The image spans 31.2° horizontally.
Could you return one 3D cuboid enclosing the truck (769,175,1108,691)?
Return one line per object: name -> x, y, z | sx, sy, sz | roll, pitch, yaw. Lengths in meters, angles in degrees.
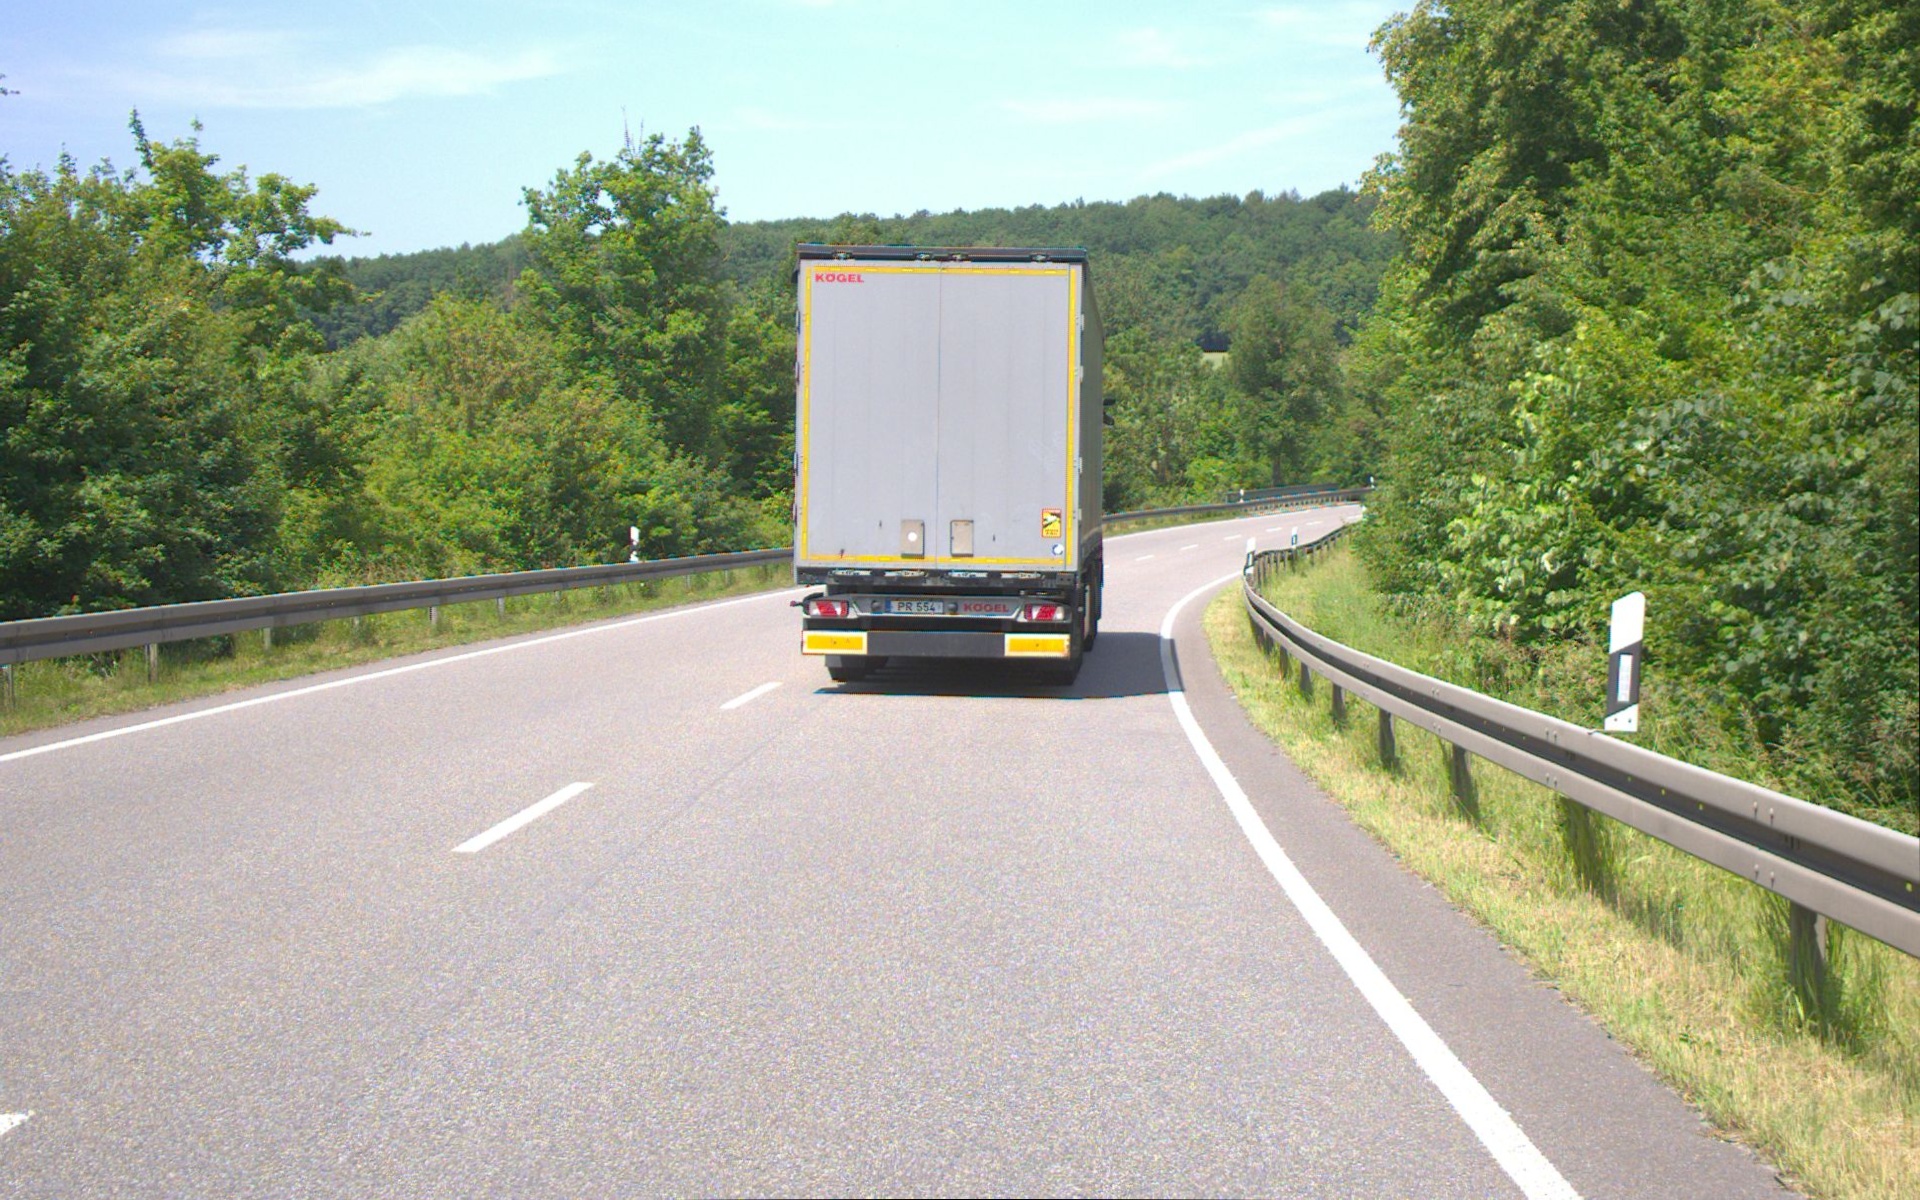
truck -> 0.059, -1.599, 36.087 | 2.818, 4.517, 11.767 | 0, 1, 3
